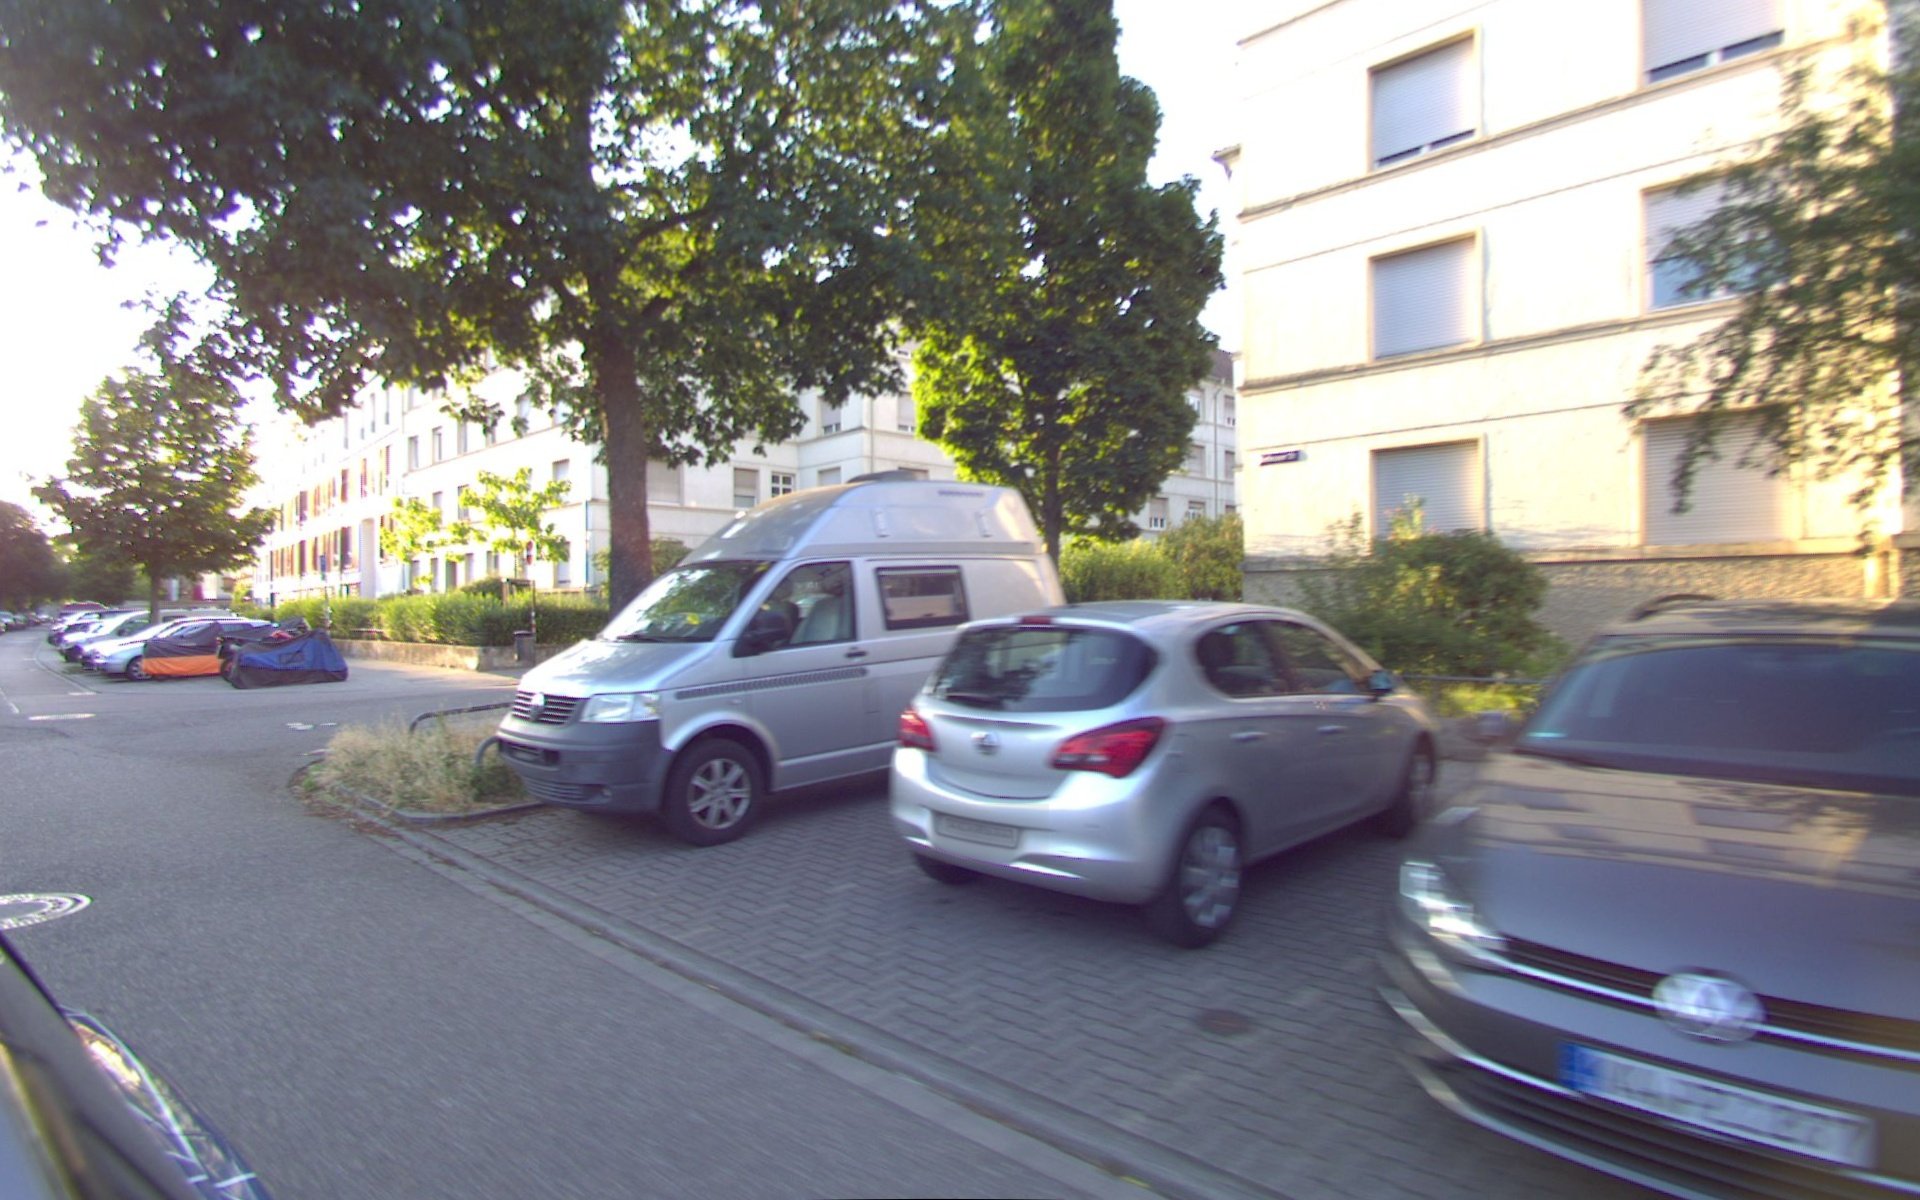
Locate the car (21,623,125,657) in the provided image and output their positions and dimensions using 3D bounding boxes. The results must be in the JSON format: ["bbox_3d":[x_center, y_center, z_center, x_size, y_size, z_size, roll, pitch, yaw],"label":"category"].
[{"bbox_3d":[-45.275,2.011,51.684,1.654,1.504,3.840,-1,1,44],"label":"car"}]

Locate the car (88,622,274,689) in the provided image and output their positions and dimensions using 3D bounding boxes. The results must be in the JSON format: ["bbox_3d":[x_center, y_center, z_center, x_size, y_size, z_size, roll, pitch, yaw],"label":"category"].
[{"bbox_3d":[-20.079,1.363,26.158,3.669,1.517,1.691,-1,0,-43],"label":"car"}]

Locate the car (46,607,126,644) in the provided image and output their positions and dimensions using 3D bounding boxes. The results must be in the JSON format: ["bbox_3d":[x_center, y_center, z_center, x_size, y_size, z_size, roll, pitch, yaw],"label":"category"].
[{"bbox_3d":[-63.252,1.814,73.286,4.348,2.576,1.934,-1,0,-41],"label":"car"}]

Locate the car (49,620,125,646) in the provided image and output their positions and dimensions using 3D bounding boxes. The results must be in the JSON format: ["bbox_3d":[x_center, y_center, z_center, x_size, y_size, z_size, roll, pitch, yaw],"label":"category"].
[{"bbox_3d":[-59.715,2.237,69.293,3.899,1.551,1.758,-2,0,-40],"label":"car"}]

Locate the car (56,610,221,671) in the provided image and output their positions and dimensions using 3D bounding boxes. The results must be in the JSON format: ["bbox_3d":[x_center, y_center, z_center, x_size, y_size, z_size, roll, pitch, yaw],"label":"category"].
[{"bbox_3d":[-28.783,1.381,35.555,4.368,1.815,1.946,-3,1,-42],"label":"car"}]

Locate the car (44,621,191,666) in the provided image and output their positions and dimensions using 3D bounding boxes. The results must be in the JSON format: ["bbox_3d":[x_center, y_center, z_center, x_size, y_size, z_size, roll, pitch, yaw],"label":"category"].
[{"bbox_3d":[-33.917,1.706,40.832,1.828,1.462,4.359,-1,2,44],"label":"car"}]

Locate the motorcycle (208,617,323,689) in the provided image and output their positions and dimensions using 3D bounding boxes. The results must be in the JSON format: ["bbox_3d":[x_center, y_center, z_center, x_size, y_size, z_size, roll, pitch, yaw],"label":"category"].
[{"bbox_3d":[-16.656,1.236,24.309,2.203,1.594,0.775,-1,0,-41],"label":"motorcycle"}]

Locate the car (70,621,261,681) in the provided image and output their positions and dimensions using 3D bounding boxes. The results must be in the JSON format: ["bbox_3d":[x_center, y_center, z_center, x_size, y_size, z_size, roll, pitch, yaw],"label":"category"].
[{"bbox_3d":[-23.447,1.444,29.956,4.275,1.416,1.853,-3,1,-42],"label":"car"}]

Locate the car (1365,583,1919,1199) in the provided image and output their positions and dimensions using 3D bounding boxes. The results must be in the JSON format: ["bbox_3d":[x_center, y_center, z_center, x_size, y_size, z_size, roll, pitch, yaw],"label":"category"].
[{"bbox_3d":[3.070,0.663,3.433,1.685,1.404,4.196,-1,0,44],"label":"car"}]

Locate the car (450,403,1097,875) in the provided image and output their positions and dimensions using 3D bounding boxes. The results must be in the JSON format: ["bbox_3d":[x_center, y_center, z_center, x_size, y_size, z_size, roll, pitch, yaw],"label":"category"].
[{"bbox_3d":[-1.157,0.207,7.934,2.001,2.589,4.678,-1,0,44],"label":"car"}]

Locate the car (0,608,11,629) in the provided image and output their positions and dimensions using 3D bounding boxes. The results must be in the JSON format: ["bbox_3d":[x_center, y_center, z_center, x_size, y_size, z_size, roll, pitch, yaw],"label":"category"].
[{"bbox_3d":[-95.116,1.873,99.985,1.970,2.029,4.003,-1,0,-44],"label":"car"}]

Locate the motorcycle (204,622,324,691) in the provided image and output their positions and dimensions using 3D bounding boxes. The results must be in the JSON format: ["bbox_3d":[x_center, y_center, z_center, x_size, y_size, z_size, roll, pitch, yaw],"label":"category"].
[{"bbox_3d":[-15.973,1.269,23.260,2.203,1.447,0.775,-1,0,-41],"label":"motorcycle"}]

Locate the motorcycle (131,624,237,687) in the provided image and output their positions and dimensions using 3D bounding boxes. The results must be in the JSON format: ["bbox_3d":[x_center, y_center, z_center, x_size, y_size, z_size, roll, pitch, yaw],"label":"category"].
[{"bbox_3d":[-19.017,1.336,24.840,0.721,1.447,1.965,-1,0,41],"label":"motorcycle"}]

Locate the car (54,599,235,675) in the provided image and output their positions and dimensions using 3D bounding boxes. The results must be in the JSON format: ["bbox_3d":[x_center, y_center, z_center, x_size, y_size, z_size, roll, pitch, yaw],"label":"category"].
[{"bbox_3d":[-26.940,1.174,33.561,4.457,2.085,2.003,-4,1,-41],"label":"car"}]

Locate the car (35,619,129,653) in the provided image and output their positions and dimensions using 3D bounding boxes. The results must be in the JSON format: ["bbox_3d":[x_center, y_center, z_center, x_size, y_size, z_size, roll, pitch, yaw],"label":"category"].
[{"bbox_3d":[-52.971,2.130,61.133,1.898,1.910,4.131,-1,0,43],"label":"car"}]

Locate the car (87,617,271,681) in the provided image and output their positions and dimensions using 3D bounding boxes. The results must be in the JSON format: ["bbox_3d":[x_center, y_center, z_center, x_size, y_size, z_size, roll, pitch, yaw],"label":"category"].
[{"bbox_3d":[-21.679,1.302,28.165,3.939,1.595,1.731,-1,0,-42],"label":"car"}]

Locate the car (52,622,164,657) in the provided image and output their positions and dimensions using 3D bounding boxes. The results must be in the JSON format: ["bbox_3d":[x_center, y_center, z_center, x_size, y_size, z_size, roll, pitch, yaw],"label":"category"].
[{"bbox_3d":[-42.839,1.955,50.921,1.738,1.426,4.094,-1,2,43],"label":"car"}]

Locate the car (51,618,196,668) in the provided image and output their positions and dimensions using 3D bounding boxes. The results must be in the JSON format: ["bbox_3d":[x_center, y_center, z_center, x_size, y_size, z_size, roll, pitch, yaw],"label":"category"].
[{"bbox_3d":[-32.261,1.609,39.095,4.194,1.633,1.815,-3,0,-43],"label":"car"}]

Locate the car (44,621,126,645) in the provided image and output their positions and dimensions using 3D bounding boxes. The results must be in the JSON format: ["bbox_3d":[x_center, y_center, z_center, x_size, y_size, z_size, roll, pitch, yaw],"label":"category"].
[{"bbox_3d":[-61.363,2.284,70.978,4.285,1.536,1.708,-2,0,-43],"label":"car"}]

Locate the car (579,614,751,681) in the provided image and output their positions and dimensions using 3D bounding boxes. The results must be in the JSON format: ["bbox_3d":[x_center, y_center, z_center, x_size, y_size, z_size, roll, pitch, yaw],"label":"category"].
[{"bbox_3d":[-7.307,1.125,25.266,3.721,1.475,1.830,-1,0,-45],"label":"car"}]

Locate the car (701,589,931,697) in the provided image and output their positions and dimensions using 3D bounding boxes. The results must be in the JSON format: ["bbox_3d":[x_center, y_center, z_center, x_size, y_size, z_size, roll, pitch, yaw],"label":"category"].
[{"bbox_3d":[-2.946,0.814,21.439,2.001,2.029,4.525,-1,0,45],"label":"car"}]

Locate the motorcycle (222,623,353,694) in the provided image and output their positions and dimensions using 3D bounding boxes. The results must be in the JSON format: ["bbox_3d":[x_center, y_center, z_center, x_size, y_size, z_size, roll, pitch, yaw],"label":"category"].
[{"bbox_3d":[-15.028,1.272,22.660,2.353,1.447,0.882,-1,0,-41],"label":"motorcycle"}]

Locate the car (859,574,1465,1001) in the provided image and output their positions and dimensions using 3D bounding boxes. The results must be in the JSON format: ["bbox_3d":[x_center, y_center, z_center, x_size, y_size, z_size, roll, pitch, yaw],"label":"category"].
[{"bbox_3d":[1.400,0.673,5.724,1.652,1.534,3.763,-1,1,42],"label":"car"}]

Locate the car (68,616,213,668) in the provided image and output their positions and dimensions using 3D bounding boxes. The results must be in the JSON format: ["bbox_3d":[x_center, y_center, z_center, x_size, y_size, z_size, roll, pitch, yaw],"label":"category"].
[{"bbox_3d":[-30.209,1.510,37.367,3.942,1.495,1.757,-5,2,-45],"label":"car"}]

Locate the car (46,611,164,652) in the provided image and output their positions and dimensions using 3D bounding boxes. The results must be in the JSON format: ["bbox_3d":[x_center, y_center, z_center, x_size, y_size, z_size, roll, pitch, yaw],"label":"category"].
[{"bbox_3d":[-46.070,1.664,54.640,4.794,2.070,2.003,-1,0,-40],"label":"car"}]

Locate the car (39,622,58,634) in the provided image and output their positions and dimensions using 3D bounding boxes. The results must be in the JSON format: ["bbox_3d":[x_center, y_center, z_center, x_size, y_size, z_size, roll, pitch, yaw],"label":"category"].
[{"bbox_3d":[-120.610,3.675,133.866,1.737,1.498,3.787,2,-2,-44],"label":"car"}]
